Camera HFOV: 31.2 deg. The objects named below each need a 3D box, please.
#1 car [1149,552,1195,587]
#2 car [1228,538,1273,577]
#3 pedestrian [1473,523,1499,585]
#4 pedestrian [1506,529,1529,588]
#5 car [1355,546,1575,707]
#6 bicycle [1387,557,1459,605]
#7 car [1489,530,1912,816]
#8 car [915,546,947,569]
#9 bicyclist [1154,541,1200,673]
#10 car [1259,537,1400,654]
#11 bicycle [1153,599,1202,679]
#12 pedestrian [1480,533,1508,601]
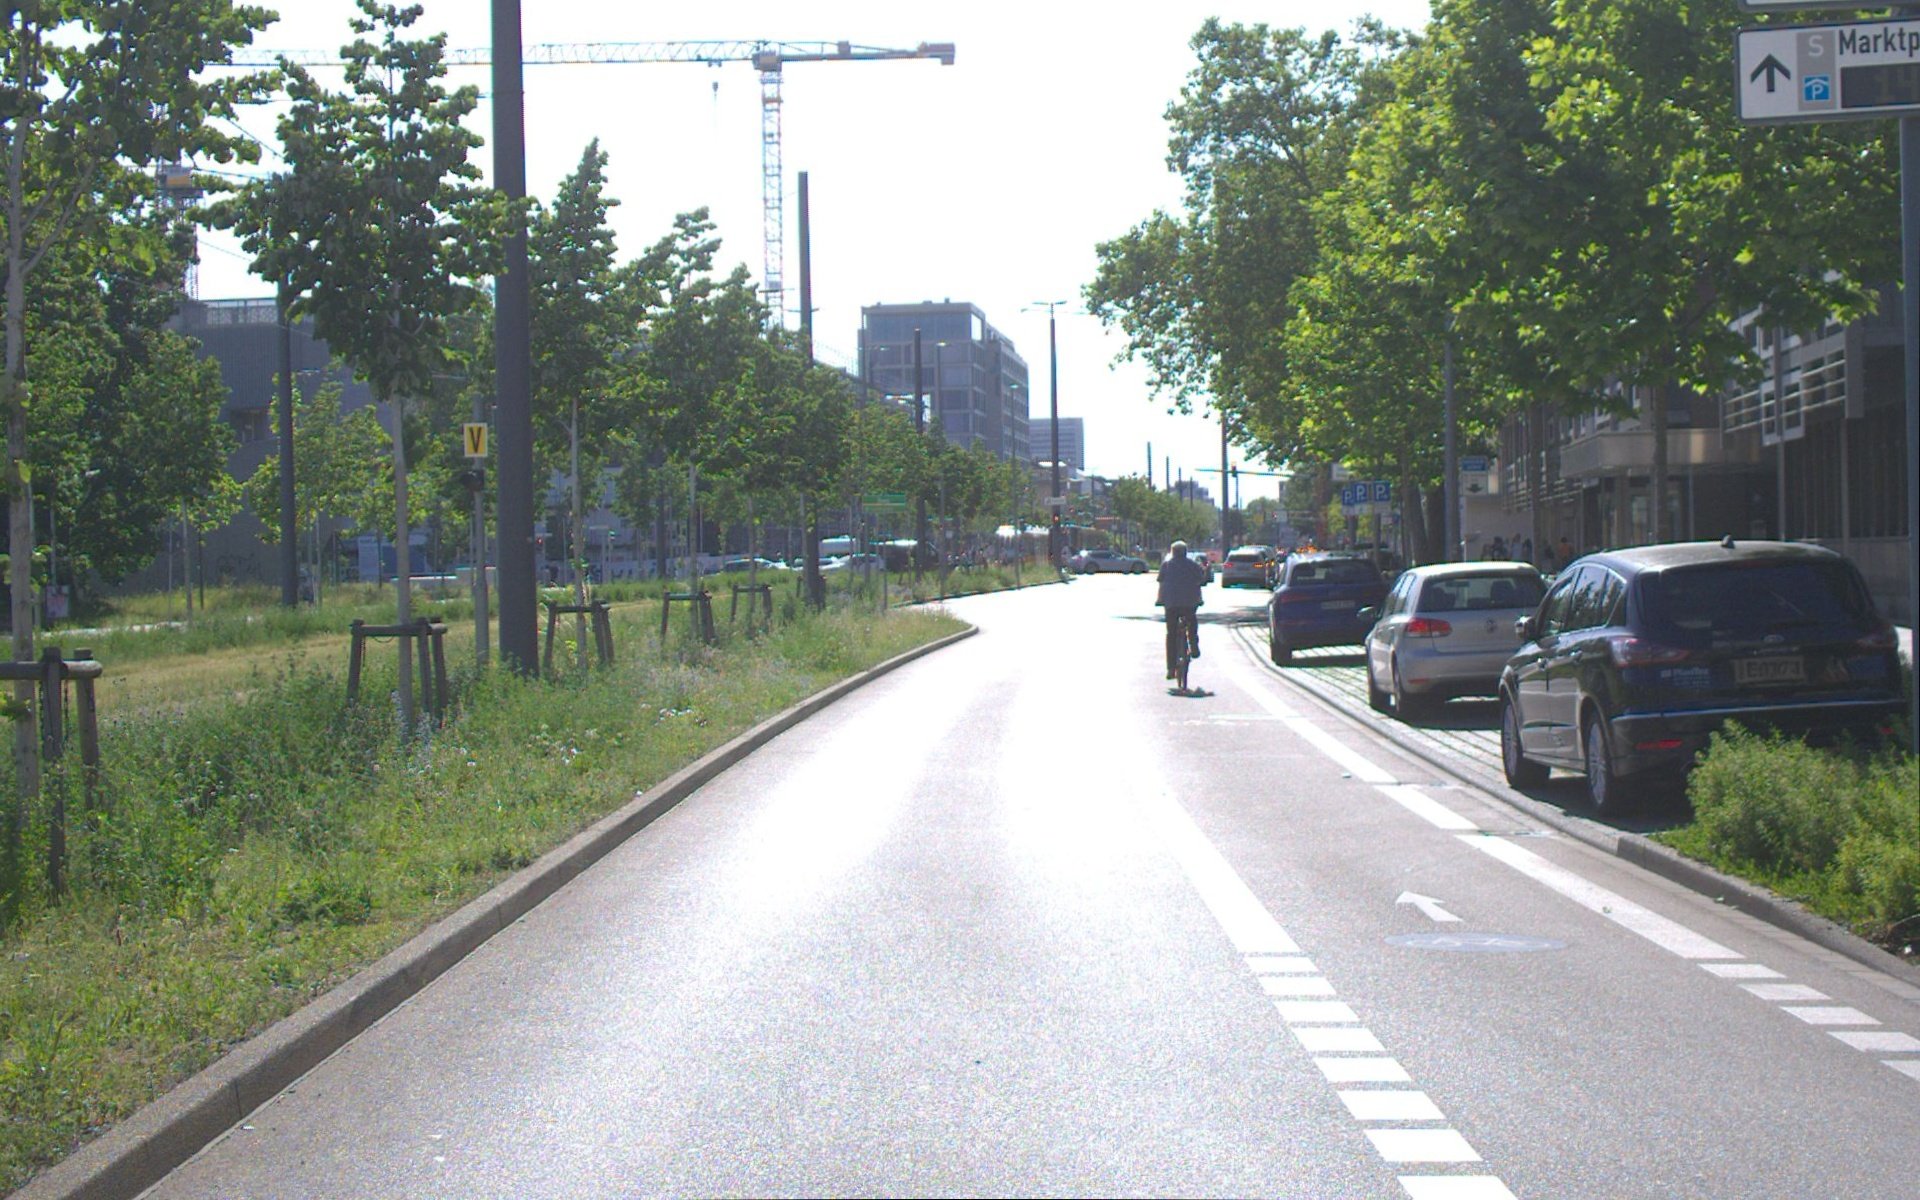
[{"bbox_3d":[9.454,-1.359,153.231,1.912,1.481,4.009,-1,1,5],"label":"car"},{"bbox_3d":[12.624,-1.845,149.132,1.722,1.612,4.185,0,1,8],"label":"car"},{"bbox_3d":[12.626,-1.112,82.565,0.511,1.469,0.736,-2,1,5],"label":"pedestrian"},{"bbox_3d":[16.331,-1.218,100.692,0.511,1.695,0.774,-3,1,5],"label":"pedestrian"},{"bbox_3d":[5.006,0.218,34.551,1.618,1.460,4.155,-2,1,1],"label":"car"},{"bbox_3d":[13.165,-0.553,97.756,1.937,1.232,0.579,-4,1,3],"label":"bicycle"},{"bbox_3d":[4.705,0.397,22.469,1.747,1.653,4.470,-1,1,0],"label":"car"},{"bbox_3d":[-1.550,-2.304,185.607,1.377,1.174,3.220,1,0,5],"label":"car"},{"bbox_3d":[2.638,0.082,41.874,0.512,1.595,0.536,-1,1,1],"label":"bicyclist"},{"bbox_3d":[5.654,-0.113,53.050,1.849,1.651,4.848,-2,1,3],"label":"car"},{"bbox_3d":[2.637,0.460,41.772,0.497,0.903,2.197,1,1,1],"label":"bicycle"},{"bbox_3d":[13.730,-0.853,88.430,0.647,1.722,0.803,0,1,5],"label":"pedestrian"}]
